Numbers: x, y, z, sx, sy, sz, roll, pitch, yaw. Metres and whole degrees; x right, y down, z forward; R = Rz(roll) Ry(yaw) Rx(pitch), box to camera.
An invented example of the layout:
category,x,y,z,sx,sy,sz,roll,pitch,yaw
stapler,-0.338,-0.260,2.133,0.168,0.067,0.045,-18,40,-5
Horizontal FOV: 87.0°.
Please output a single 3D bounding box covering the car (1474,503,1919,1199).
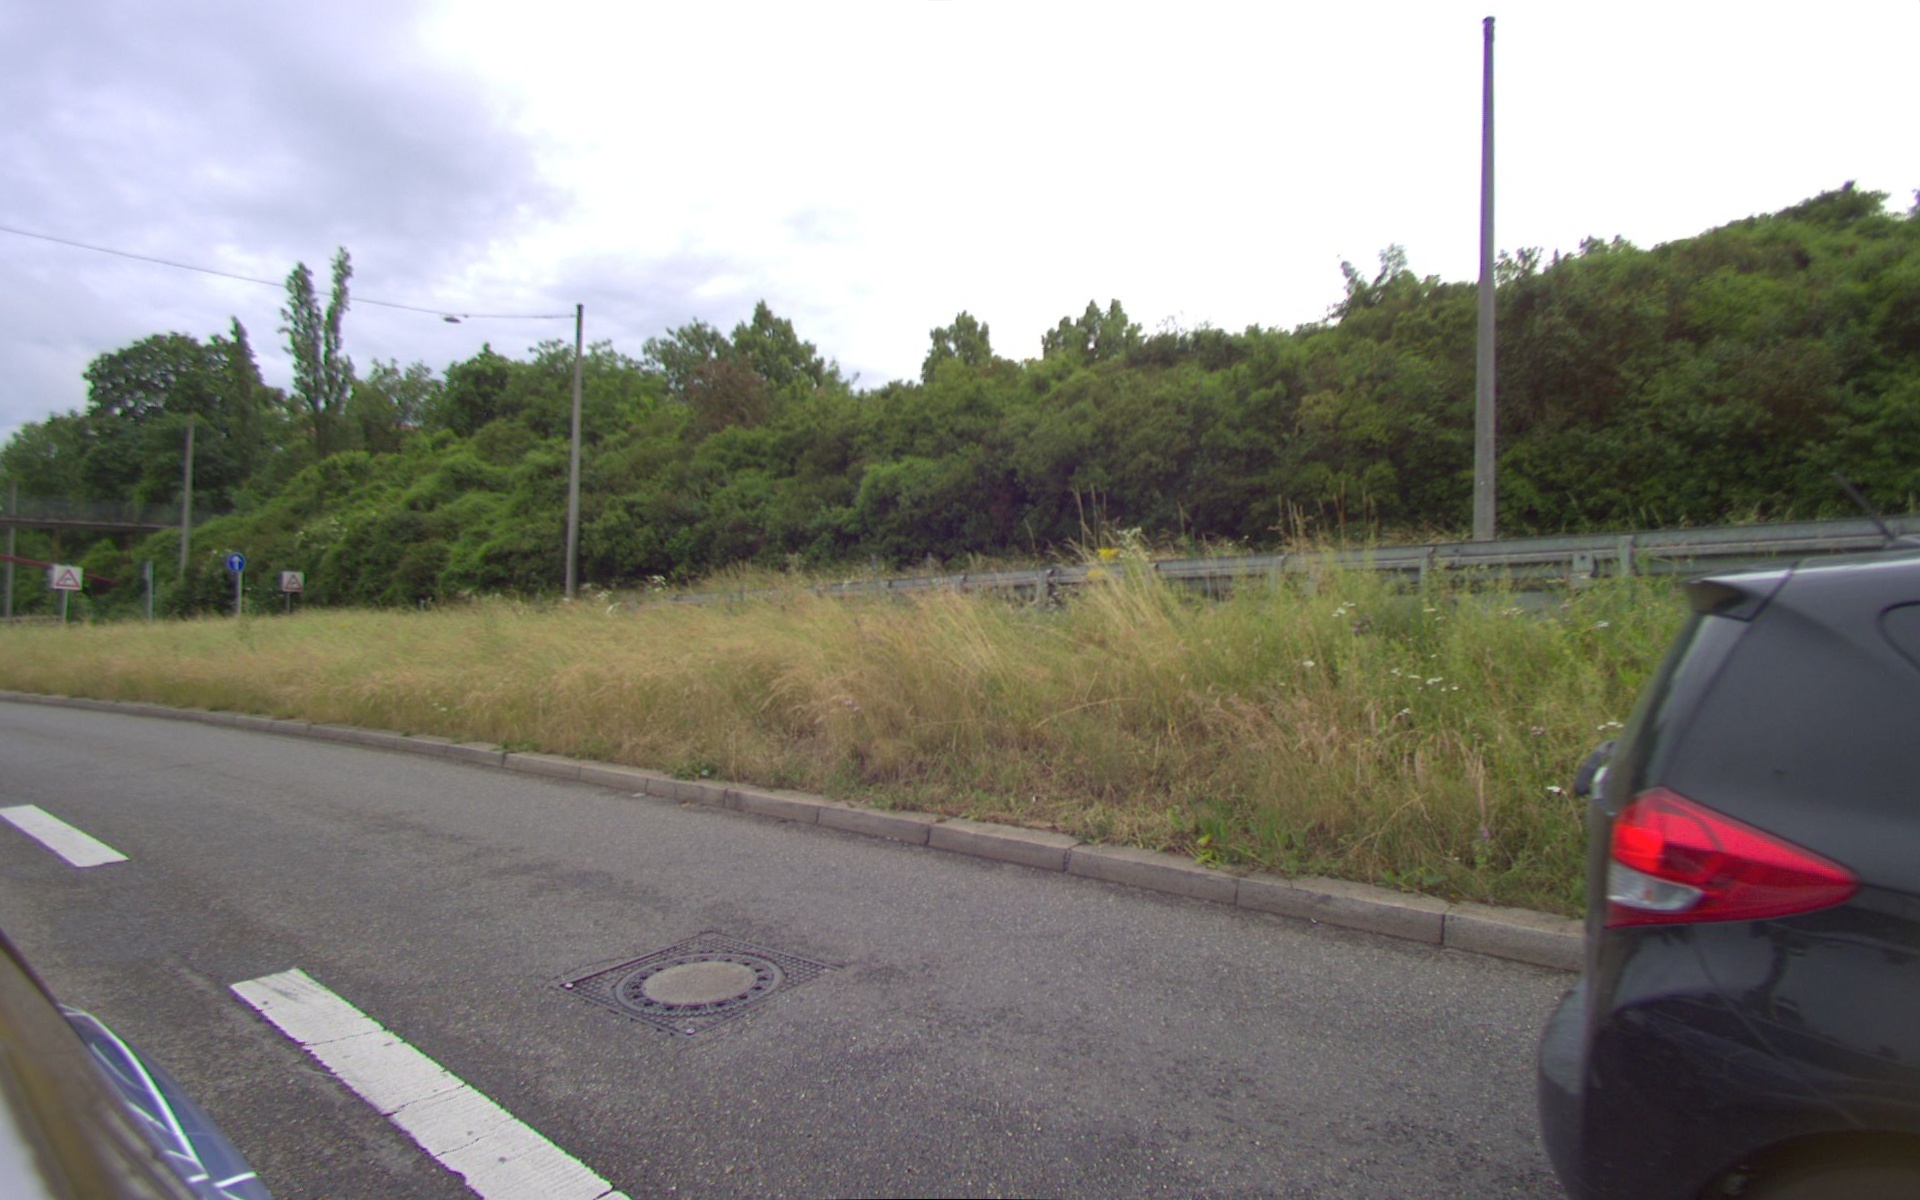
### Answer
category,x,y,z,sx,sy,sz,roll,pitch,yaw
car,2.867,0.573,1.131,3.777,1.516,1.624,-2,0,42
